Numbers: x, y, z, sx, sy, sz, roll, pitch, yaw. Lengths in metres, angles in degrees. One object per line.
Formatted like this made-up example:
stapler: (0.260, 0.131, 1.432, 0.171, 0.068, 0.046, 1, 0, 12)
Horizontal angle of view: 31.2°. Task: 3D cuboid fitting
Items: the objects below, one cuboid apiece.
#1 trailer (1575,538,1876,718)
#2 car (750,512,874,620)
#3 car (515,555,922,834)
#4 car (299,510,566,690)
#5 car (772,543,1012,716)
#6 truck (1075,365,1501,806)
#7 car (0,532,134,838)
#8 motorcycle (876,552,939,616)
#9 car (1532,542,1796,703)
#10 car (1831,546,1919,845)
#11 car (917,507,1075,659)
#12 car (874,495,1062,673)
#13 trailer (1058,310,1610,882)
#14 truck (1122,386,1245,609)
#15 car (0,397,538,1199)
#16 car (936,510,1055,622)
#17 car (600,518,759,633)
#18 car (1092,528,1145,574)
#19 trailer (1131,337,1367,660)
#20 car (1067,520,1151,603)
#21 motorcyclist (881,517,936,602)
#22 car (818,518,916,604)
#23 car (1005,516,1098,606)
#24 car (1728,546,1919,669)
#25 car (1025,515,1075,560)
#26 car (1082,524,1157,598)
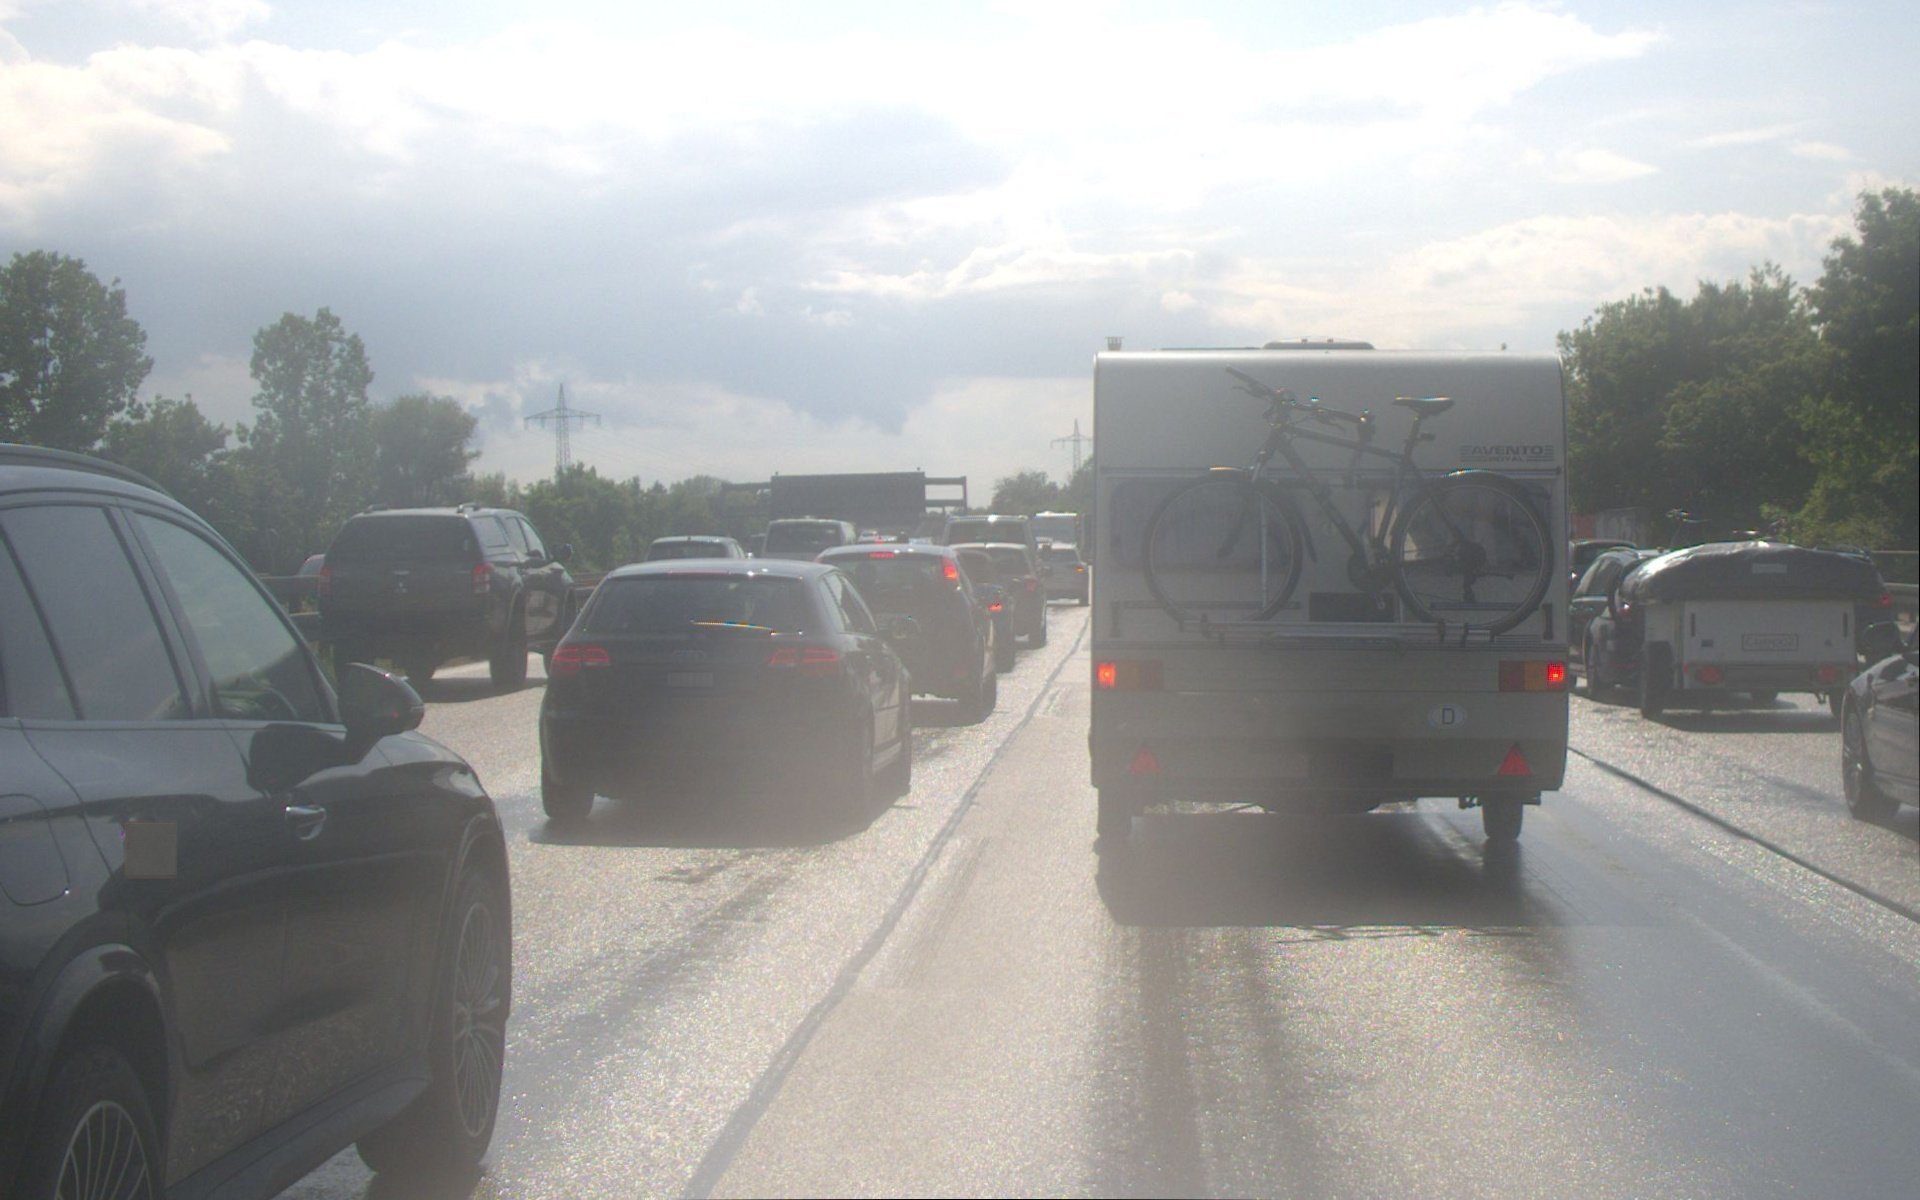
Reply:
trailer: (6.504, 0.191, 29.630, 1.855, 1.437, 4.147, 0, 1, 3)
car: (-2.979, -0.707, 69.912, 1.994, 2.007, 4.000, 4, 1, 4)
car: (-1.245, 0.451, 19.356, 1.757, 1.382, 3.944, 0, 1, 4)
car: (-5.313, -0.025, 35.133, 1.993, 1.714, 4.000, 1, 1, 2)
car: (-0.530, 0.217, 30.243, 1.806, 1.402, 4.000, 1, 1, 3)
truck: (1.993, -0.123, 22.338, 2.374, 2.468, 5.756, 1, 1, 3)
car: (-5.618, 0.419, 17.090, 1.757, 1.511, 4.208, 0, 1, 4)
motorcycle: (-1.049, -0.330, 69.960, 1.074, 1.267, 2.690, 0, 1, 4)
car: (6.671, 0.166, 32.999, 1.855, 1.437, 4.258, 0, 1, 3)
car: (5.454, 0.454, 16.509, 1.740, 1.415, 3.835, 0, 1, 3)
car: (0.570, -0.274, 50.311, 1.994, 2.007, 4.000, 4, 1, 4)
car: (0.148, -0.218, 41.418, 1.994, 2.007, 4.000, 1, 1, 4)
trailer: (1.789, -0.066, 18.287, 2.374, 2.475, 6.522, 1, 1, 3)
truck: (5.035, -2.273, 78.482, 2.502, 4.813, 7.543, 1, 1, 2)
car: (-2.183, 0.531, 6.346, 1.994, 1.656, 4.405, 0, 1, 4)
car: (0.684, -0.644, 63.851, 1.994, 2.007, 4.000, 0, 1, 4)
car: (-4.489, -0.421, 55.570, 1.994, 1.766, 4.000, 1, 1, 4)
car: (6.169, -1.916, 133.949, 1.876, 1.754, 4.000, 1, 1, 0)
trailer: (4.107, -1.383, 48.706, 3.007, 4.152, 8.534, 0, 1, 5)
car: (3.811, -0.983, 87.318, 1.994, 2.007, 4.000, 2, 1, 4)
motorcyclist: (-1.041, -0.831, 70.118, 1.064, 1.712, 0.785, 0, 1, 4)
car: (-2.254, -0.971, 84.122, 1.994, 2.007, 4.000, -1, 1, 4)
car: (2.180, -0.925, 81.053, 1.994, 2.007, 4.000, 2, 1, 4)
car: (10.588, 0.054, 41.857, 1.771, 1.397, 4.289, 0, 1, 4)
car: (3.583, -2.510, 137.529, 1.876, 1.754, 4.000, 1, 1, 0)
car: (4.659, -1.147, 99.854, 1.994, 2.007, 4.000, 4, 1, 4)
